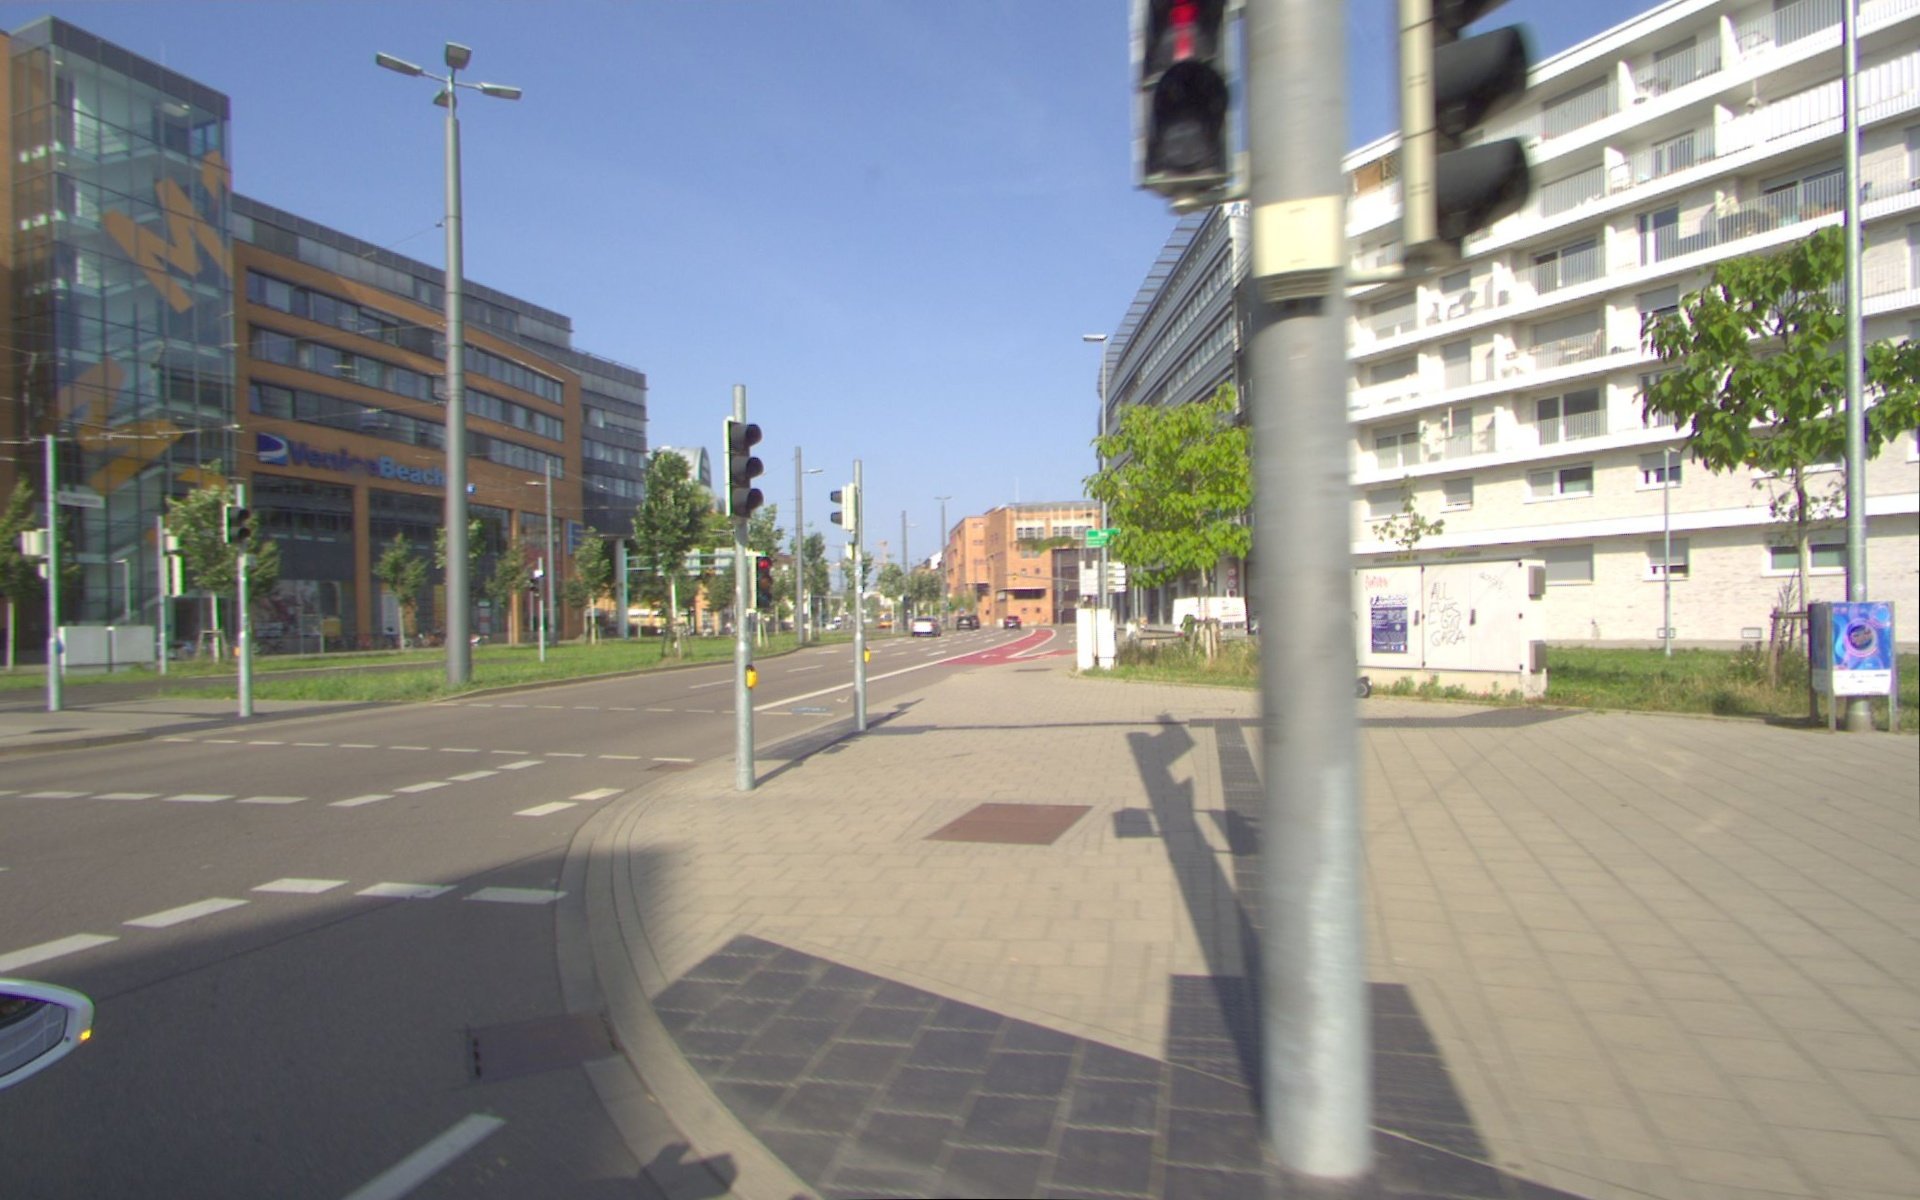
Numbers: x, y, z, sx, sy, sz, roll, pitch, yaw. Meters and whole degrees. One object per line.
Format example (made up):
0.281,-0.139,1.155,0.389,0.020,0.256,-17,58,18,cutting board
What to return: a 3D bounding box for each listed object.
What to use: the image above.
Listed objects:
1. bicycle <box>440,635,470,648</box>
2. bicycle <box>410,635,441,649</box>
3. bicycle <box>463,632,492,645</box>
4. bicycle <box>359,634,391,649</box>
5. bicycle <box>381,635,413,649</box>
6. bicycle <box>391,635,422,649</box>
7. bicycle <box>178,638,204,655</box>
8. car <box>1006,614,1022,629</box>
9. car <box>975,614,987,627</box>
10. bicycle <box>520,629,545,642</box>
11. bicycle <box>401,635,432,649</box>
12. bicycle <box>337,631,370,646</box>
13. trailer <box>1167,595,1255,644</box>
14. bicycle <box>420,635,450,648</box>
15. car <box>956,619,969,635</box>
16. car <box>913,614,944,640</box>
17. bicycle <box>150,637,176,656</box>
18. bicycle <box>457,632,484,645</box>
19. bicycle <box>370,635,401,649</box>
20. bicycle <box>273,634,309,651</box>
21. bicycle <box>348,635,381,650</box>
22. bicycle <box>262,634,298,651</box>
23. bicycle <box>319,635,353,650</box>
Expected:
-35.976,2.948,71.338,2.018,0.933,0.573,-1,0,16,bicycle
-36.764,2.895,68.892,2.018,0.933,0.573,-1,0,16,bicycle
-35.494,2.860,73.651,2.018,0.933,0.573,-1,0,16,bicycle
-37.772,2.679,64.640,2.018,0.933,0.573,-1,0,16,bicycle
-37.307,2.778,66.336,2.018,0.933,0.573,-1,0,16,bicycle
-37.151,2.815,67.185,2.018,0.933,0.573,-1,0,16,bicycle
-38.814,2.344,50.548,1.441,0.841,0.256,1,-1,18,bicycle
5.979,2.366,110.360,1.744,1.528,3.522,-1,-2,3,car
2.516,2.472,119.610,1.315,1.405,3.060,-1,-2,-1,car
-30.777,2.564,72.135,1.652,0.919,0.708,-1,-1,21,bicycle
-36.935,2.857,68.016,2.018,0.933,0.573,-1,0,16,bicycle
-38.152,2.444,62.971,2.018,0.933,0.573,-1,0,16,bicycle
12.037,0.918,47.677,2.363,2.179,5.918,-1,-1,32,trailer
-36.573,2.897,69.772,2.018,0.933,0.573,-1,0,16,bicycle
0.300,2.819,104.401,1.320,1.571,2.781,-1,-2,0,car
-2.260,1.997,72.406,1.677,1.777,3.892,-1,-2,6,car
-39.249,2.298,49.315,1.442,0.898,0.256,-2,-2,18,bicycle
-35.654,2.830,72.932,2.018,0.933,0.380,-1,0,16,bicycle
-37.552,2.737,65.452,2.018,0.933,0.573,-1,0,16,bicycle
-39.356,2.509,58.890,2.018,0.933,0.573,-1,0,16,bicycle
-37.948,2.685,63.786,2.018,0.933,0.573,-1,0,16,bicycle
-39.529,2.478,58.174,2.018,0.933,0.573,-1,0,16,bicycle
-38.470,2.624,61.688,2.018,0.933,0.573,-1,0,16,bicycle
